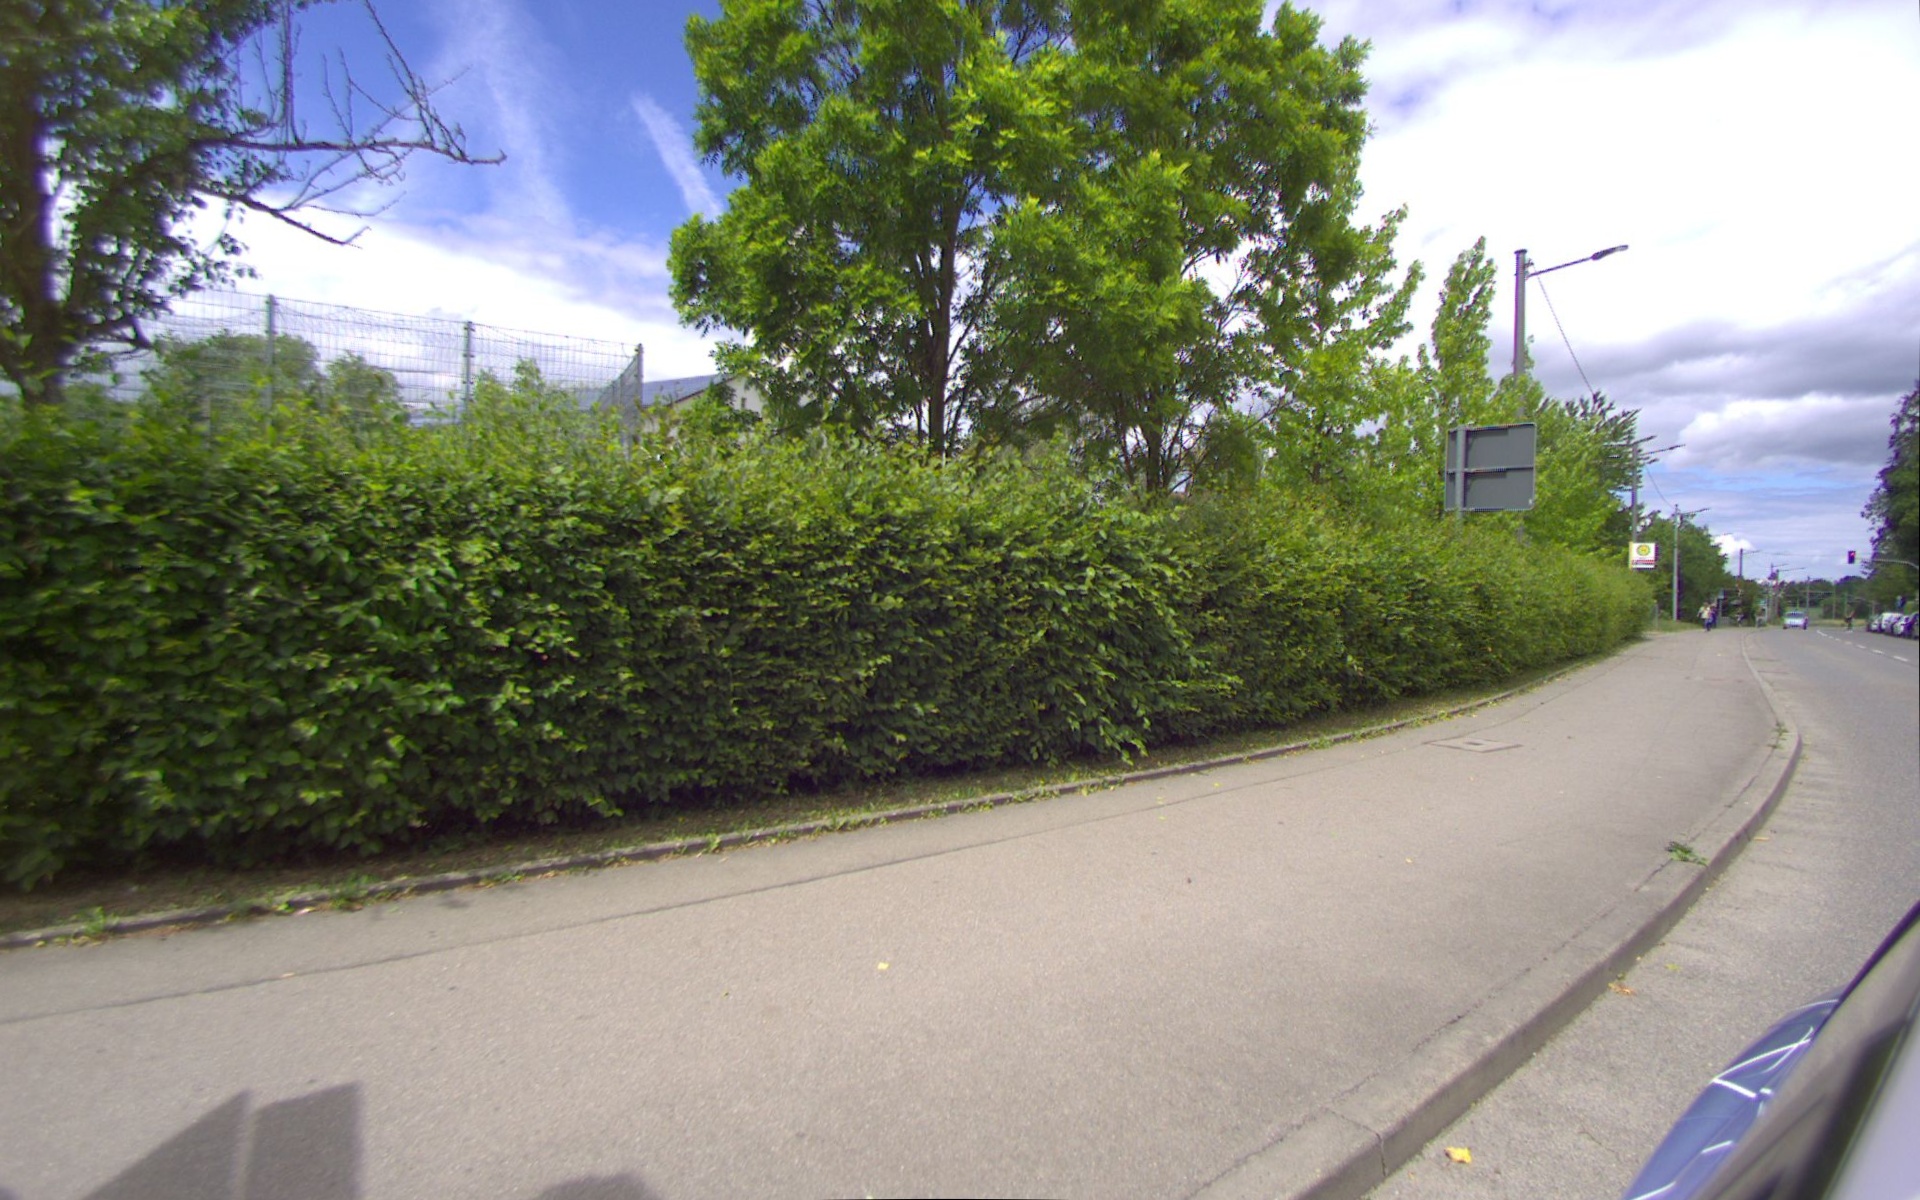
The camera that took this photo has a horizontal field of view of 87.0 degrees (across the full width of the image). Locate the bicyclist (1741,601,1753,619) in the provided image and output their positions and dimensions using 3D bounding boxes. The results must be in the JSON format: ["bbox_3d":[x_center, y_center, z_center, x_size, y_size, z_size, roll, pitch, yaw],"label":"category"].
[{"bbox_3d":[70.725,0.929,90.933,0.823,1.558,0.849,1,0,41],"label":"bicyclist"}]

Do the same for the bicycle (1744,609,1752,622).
[{"bbox_3d":[70.784,1.393,90.940,0.449,1.164,2.175,1,0,40],"label":"bicycle"}]

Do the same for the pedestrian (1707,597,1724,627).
[{"bbox_3d":[43.051,0.680,57.656,0.686,1.680,0.679,-1,-1,45],"label":"pedestrian"}]

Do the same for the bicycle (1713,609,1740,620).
[{"bbox_3d":[75.600,1.414,99.811,2.088,1.061,0.550,-2,-2,45],"label":"bicycle"}]

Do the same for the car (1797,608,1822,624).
[{"bbox_3d":[78.185,1.499,93.116,1.660,1.420,3.841,2,0,41],"label":"car"}]

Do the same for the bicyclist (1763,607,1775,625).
[{"bbox_3d":[72.209,1.407,90.313,0.823,1.558,0.849,0,-1,39],"label":"bicyclist"}]

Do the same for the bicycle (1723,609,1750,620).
[{"bbox_3d":[80.456,1.531,104.805,2.198,1.060,0.445,1,0,40],"label":"bicycle"}]

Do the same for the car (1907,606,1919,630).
[{"bbox_3d":[62.690,1.219,65.530,1.805,1.477,4.991,4,2,42],"label":"car"}]

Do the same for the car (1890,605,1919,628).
[{"bbox_3d":[79.768,1.374,85.366,1.675,1.780,4.540,4,2,40],"label":"car"}]

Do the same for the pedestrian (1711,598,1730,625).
[{"bbox_3d":[46.597,0.695,62.003,0.840,1.680,0.754,-1,-1,45],"label":"pedestrian"}]

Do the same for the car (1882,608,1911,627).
[{"bbox_3d":[82.738,1.567,89.365,1.706,1.471,4.286,6,3,44],"label":"car"}]

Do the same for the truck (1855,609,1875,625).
[{"bbox_3d":[145.362,2.724,162.533,2.188,2.401,6.800,3,1,41],"label":"truck"}]

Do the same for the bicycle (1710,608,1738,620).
[{"bbox_3d":[74.599,1.331,98.853,2.089,1.094,0.538,3,1,45],"label":"bicycle"}]

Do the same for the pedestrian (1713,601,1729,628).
[{"bbox_3d":[53.603,1.004,71.262,0.788,1.907,0.746,1,-1,-43],"label":"pedestrian"}]

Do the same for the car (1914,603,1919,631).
[{"bbox_3d":[58.494,1.059,60.551,1.625,1.698,4.517,4,2,39],"label":"car"}]

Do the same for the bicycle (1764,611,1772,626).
[{"bbox_3d":[72.283,1.624,90.511,0.449,1.302,2.178,0,-1,37],"label":"bicycle"}]
